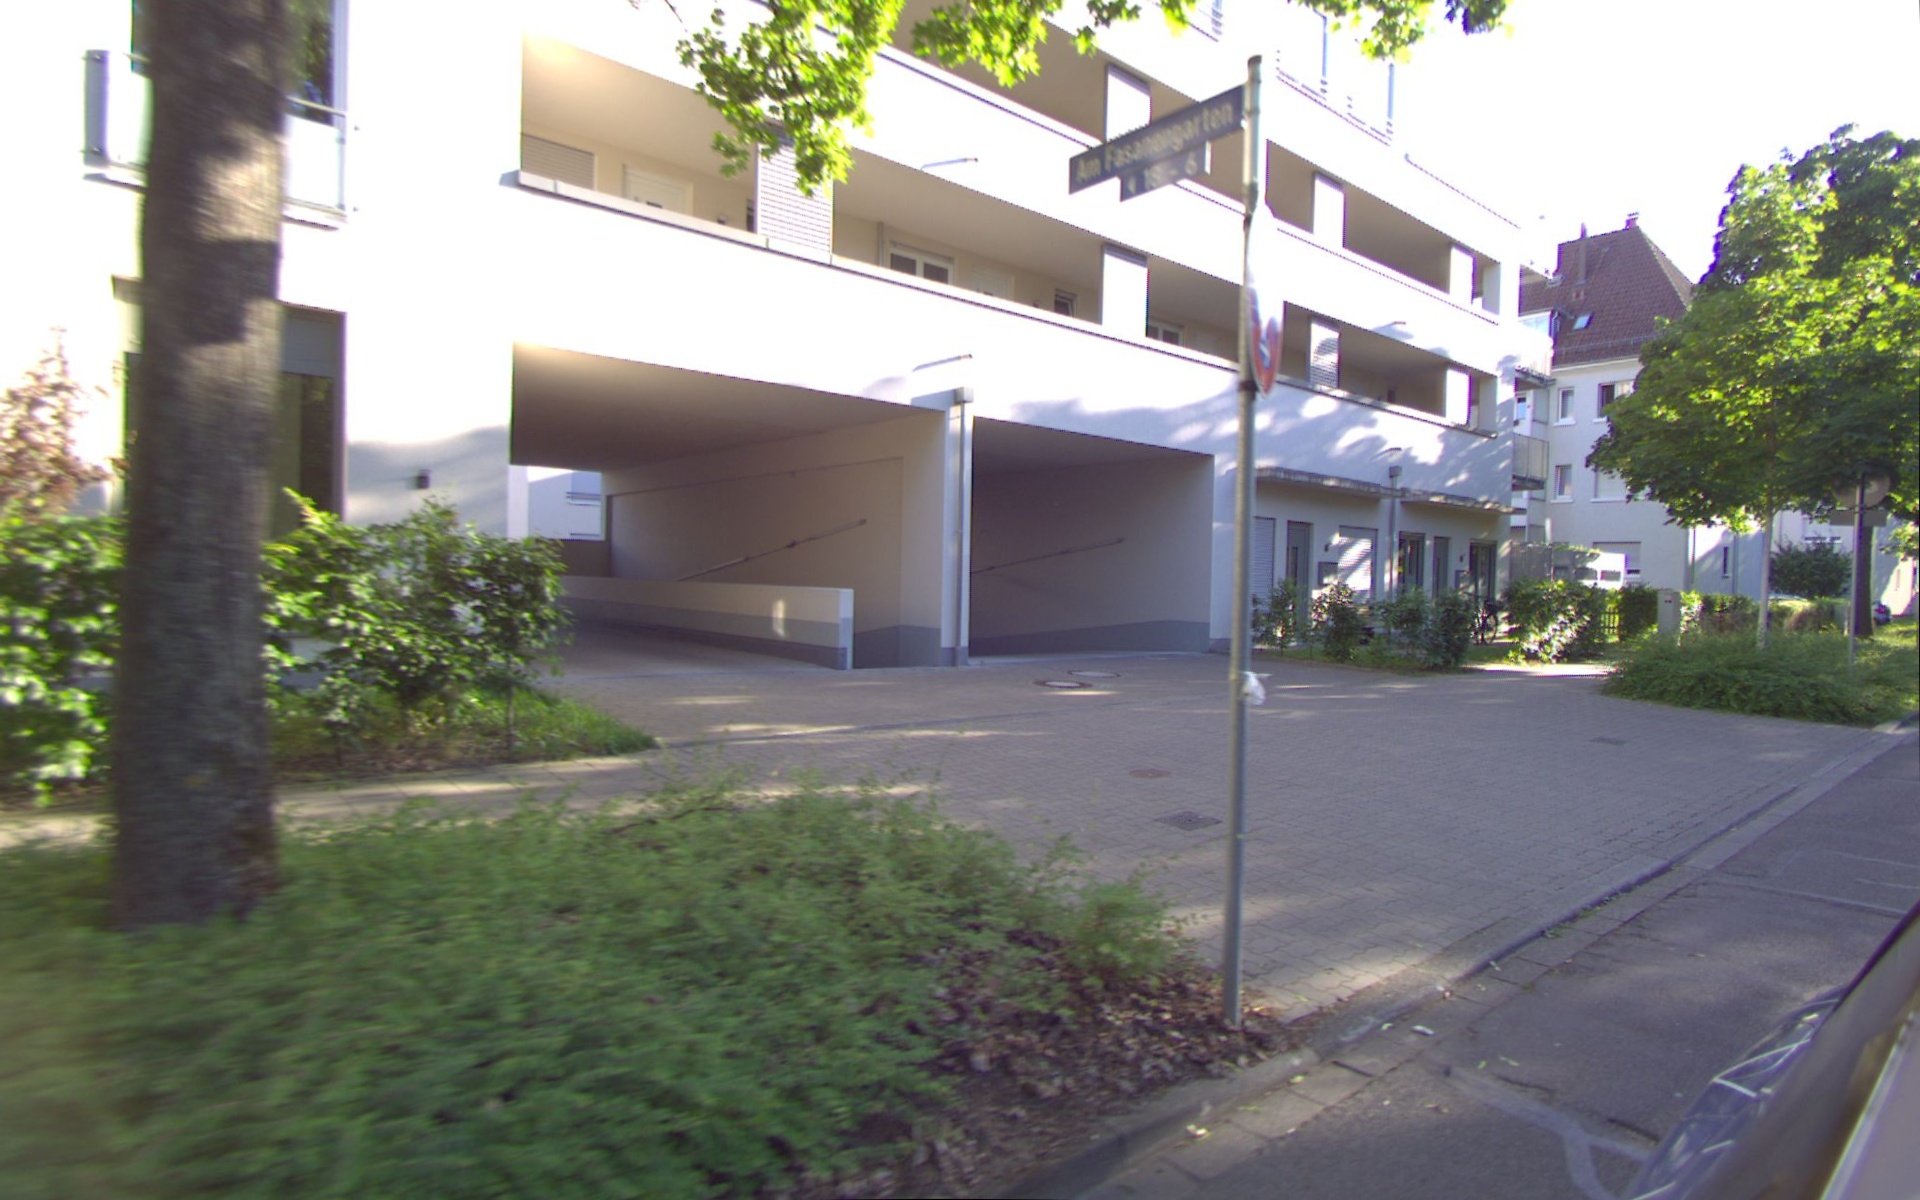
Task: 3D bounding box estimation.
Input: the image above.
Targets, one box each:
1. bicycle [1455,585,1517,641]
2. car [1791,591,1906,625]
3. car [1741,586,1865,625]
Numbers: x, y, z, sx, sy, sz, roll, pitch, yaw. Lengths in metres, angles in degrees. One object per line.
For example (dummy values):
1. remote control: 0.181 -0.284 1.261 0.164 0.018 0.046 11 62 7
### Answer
1. bicycle: 11.690 0.271 22.474 1.722 1.206 0.619 0 0 -41
2. car: 43.753 0.339 49.888 1.696 1.533 4.050 -1 2 -39
3. car: 37.912 0.230 45.587 1.777 1.601 3.996 2 1 -40
